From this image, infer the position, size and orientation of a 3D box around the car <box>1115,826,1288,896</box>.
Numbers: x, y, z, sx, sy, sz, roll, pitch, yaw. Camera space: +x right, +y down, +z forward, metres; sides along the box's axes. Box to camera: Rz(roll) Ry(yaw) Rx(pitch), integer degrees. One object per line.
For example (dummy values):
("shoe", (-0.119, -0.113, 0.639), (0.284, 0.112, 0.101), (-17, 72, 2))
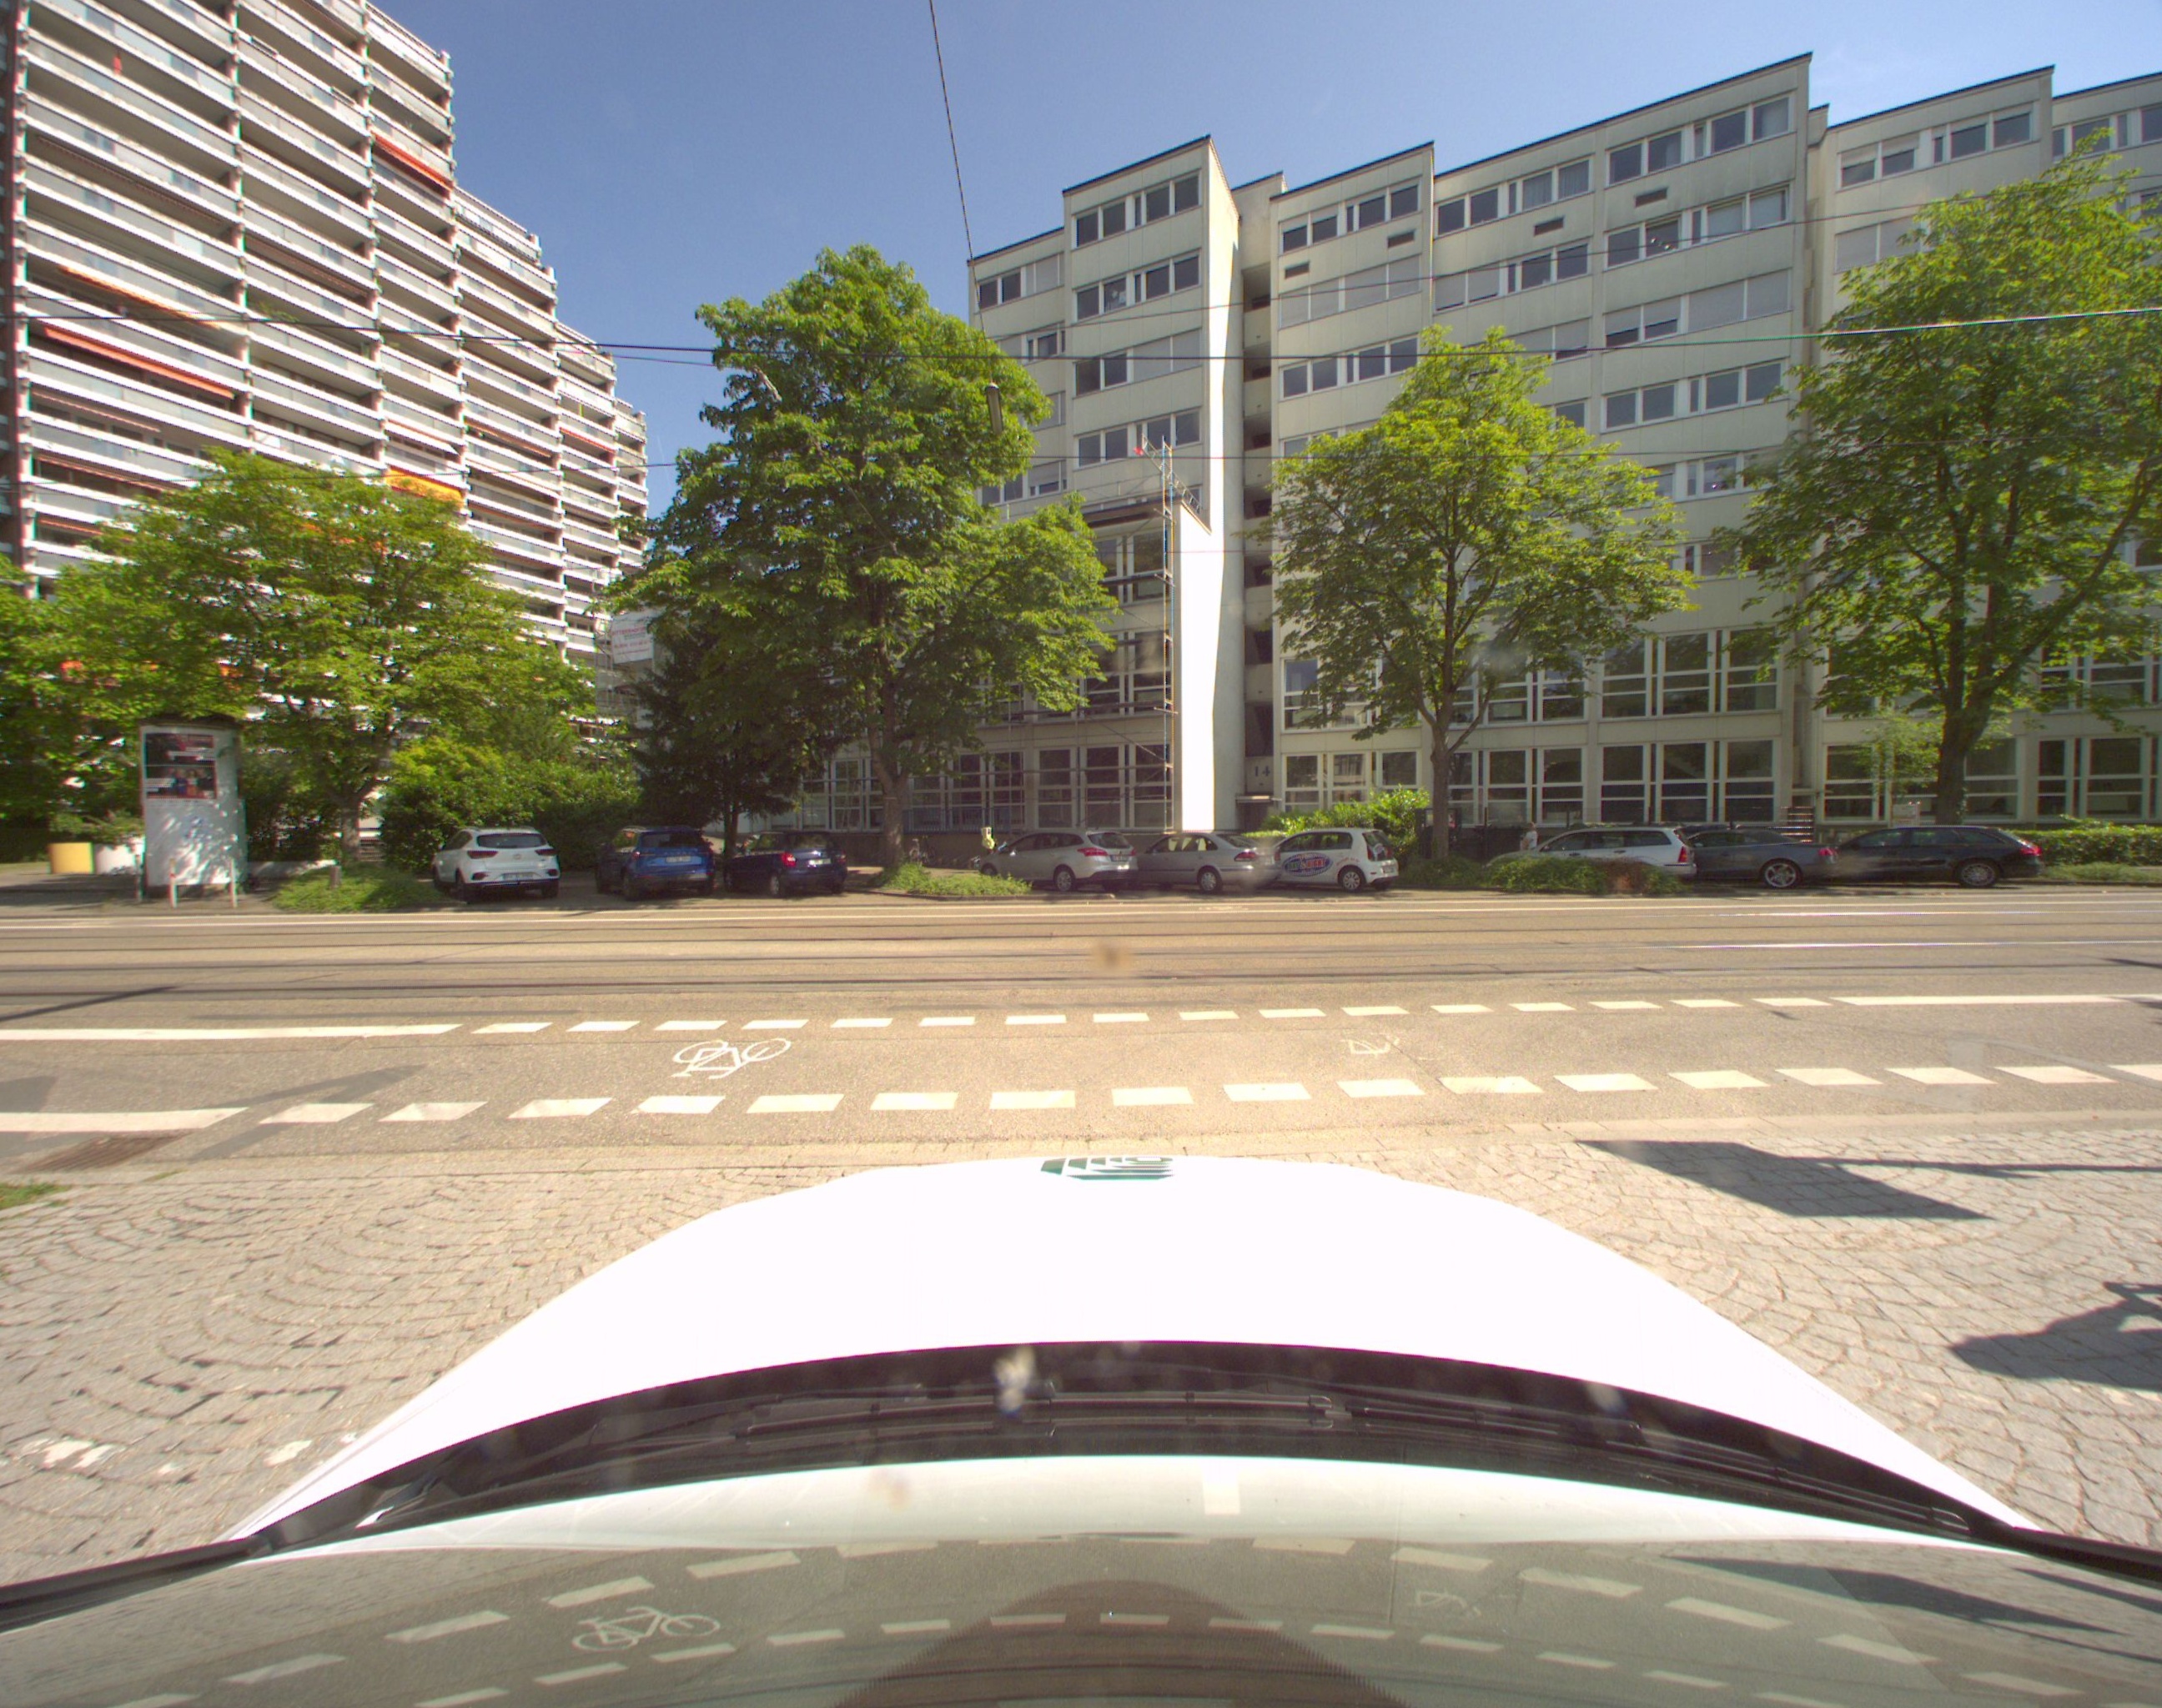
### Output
("car", (2.782, 0.101, 19.369), (1.622, 1.486, 3.897), (-2, 2, -44))

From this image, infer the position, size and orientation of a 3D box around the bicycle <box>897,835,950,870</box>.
("bicycle", (-5.193, -0.076, 26.957), (0.735, 1.085, 2.214), (0, 2, 18))

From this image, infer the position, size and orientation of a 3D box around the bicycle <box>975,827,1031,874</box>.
("bicycle", (-2.466, -0.146, 26.093), (0.655, 1.453, 2.103), (0, 2, 30))

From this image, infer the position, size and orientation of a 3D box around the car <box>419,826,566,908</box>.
("car", (-13.466, 0.217, 18.570), (3.895, 1.606, 1.831), (1, 5, 42))

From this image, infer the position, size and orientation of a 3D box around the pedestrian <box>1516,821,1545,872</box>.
("pedestrian", (13.012, -0.229, 23.577), (0.618, 1.460, 0.424), (-1, 1, -4))

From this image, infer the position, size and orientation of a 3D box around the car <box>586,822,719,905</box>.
("car", (-10.016, 0.120, 18.909), (1.790, 1.622, 3.899), (-3, 4, -42))

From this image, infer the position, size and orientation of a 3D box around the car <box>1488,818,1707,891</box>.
("car", (12.400, -0.022, 19.734), (4.289, 1.604, 1.568), (1, 1, 41))

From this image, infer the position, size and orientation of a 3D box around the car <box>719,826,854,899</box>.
("car", (-6.928, 0.141, 19.011), (3.415, 1.530, 1.586), (1, 2, 44))

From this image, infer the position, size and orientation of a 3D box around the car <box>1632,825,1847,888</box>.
("car", (15.696, 0.012, 19.554), (3.896, 1.357, 1.568), (1, 2, 44))

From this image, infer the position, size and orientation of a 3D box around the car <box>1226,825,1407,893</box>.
("car", (5.593, 0.088, 19.662), (1.623, 1.486, 3.896), (-2, 2, -45))

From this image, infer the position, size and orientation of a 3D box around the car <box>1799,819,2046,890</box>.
("car", (19.425, -0.041, 19.048), (3.896, 1.486, 1.568), (1, 2, 44))

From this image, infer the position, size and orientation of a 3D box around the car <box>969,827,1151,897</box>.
("car", (-0.602, 0.123, 19.589), (4.380, 1.486, 1.795), (1, 2, 44))

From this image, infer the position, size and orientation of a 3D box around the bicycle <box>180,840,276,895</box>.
("bicycle", (-20.995, 0.332, 20.060), (1.614, 1.308, 0.546), (-1, 1, -7))
